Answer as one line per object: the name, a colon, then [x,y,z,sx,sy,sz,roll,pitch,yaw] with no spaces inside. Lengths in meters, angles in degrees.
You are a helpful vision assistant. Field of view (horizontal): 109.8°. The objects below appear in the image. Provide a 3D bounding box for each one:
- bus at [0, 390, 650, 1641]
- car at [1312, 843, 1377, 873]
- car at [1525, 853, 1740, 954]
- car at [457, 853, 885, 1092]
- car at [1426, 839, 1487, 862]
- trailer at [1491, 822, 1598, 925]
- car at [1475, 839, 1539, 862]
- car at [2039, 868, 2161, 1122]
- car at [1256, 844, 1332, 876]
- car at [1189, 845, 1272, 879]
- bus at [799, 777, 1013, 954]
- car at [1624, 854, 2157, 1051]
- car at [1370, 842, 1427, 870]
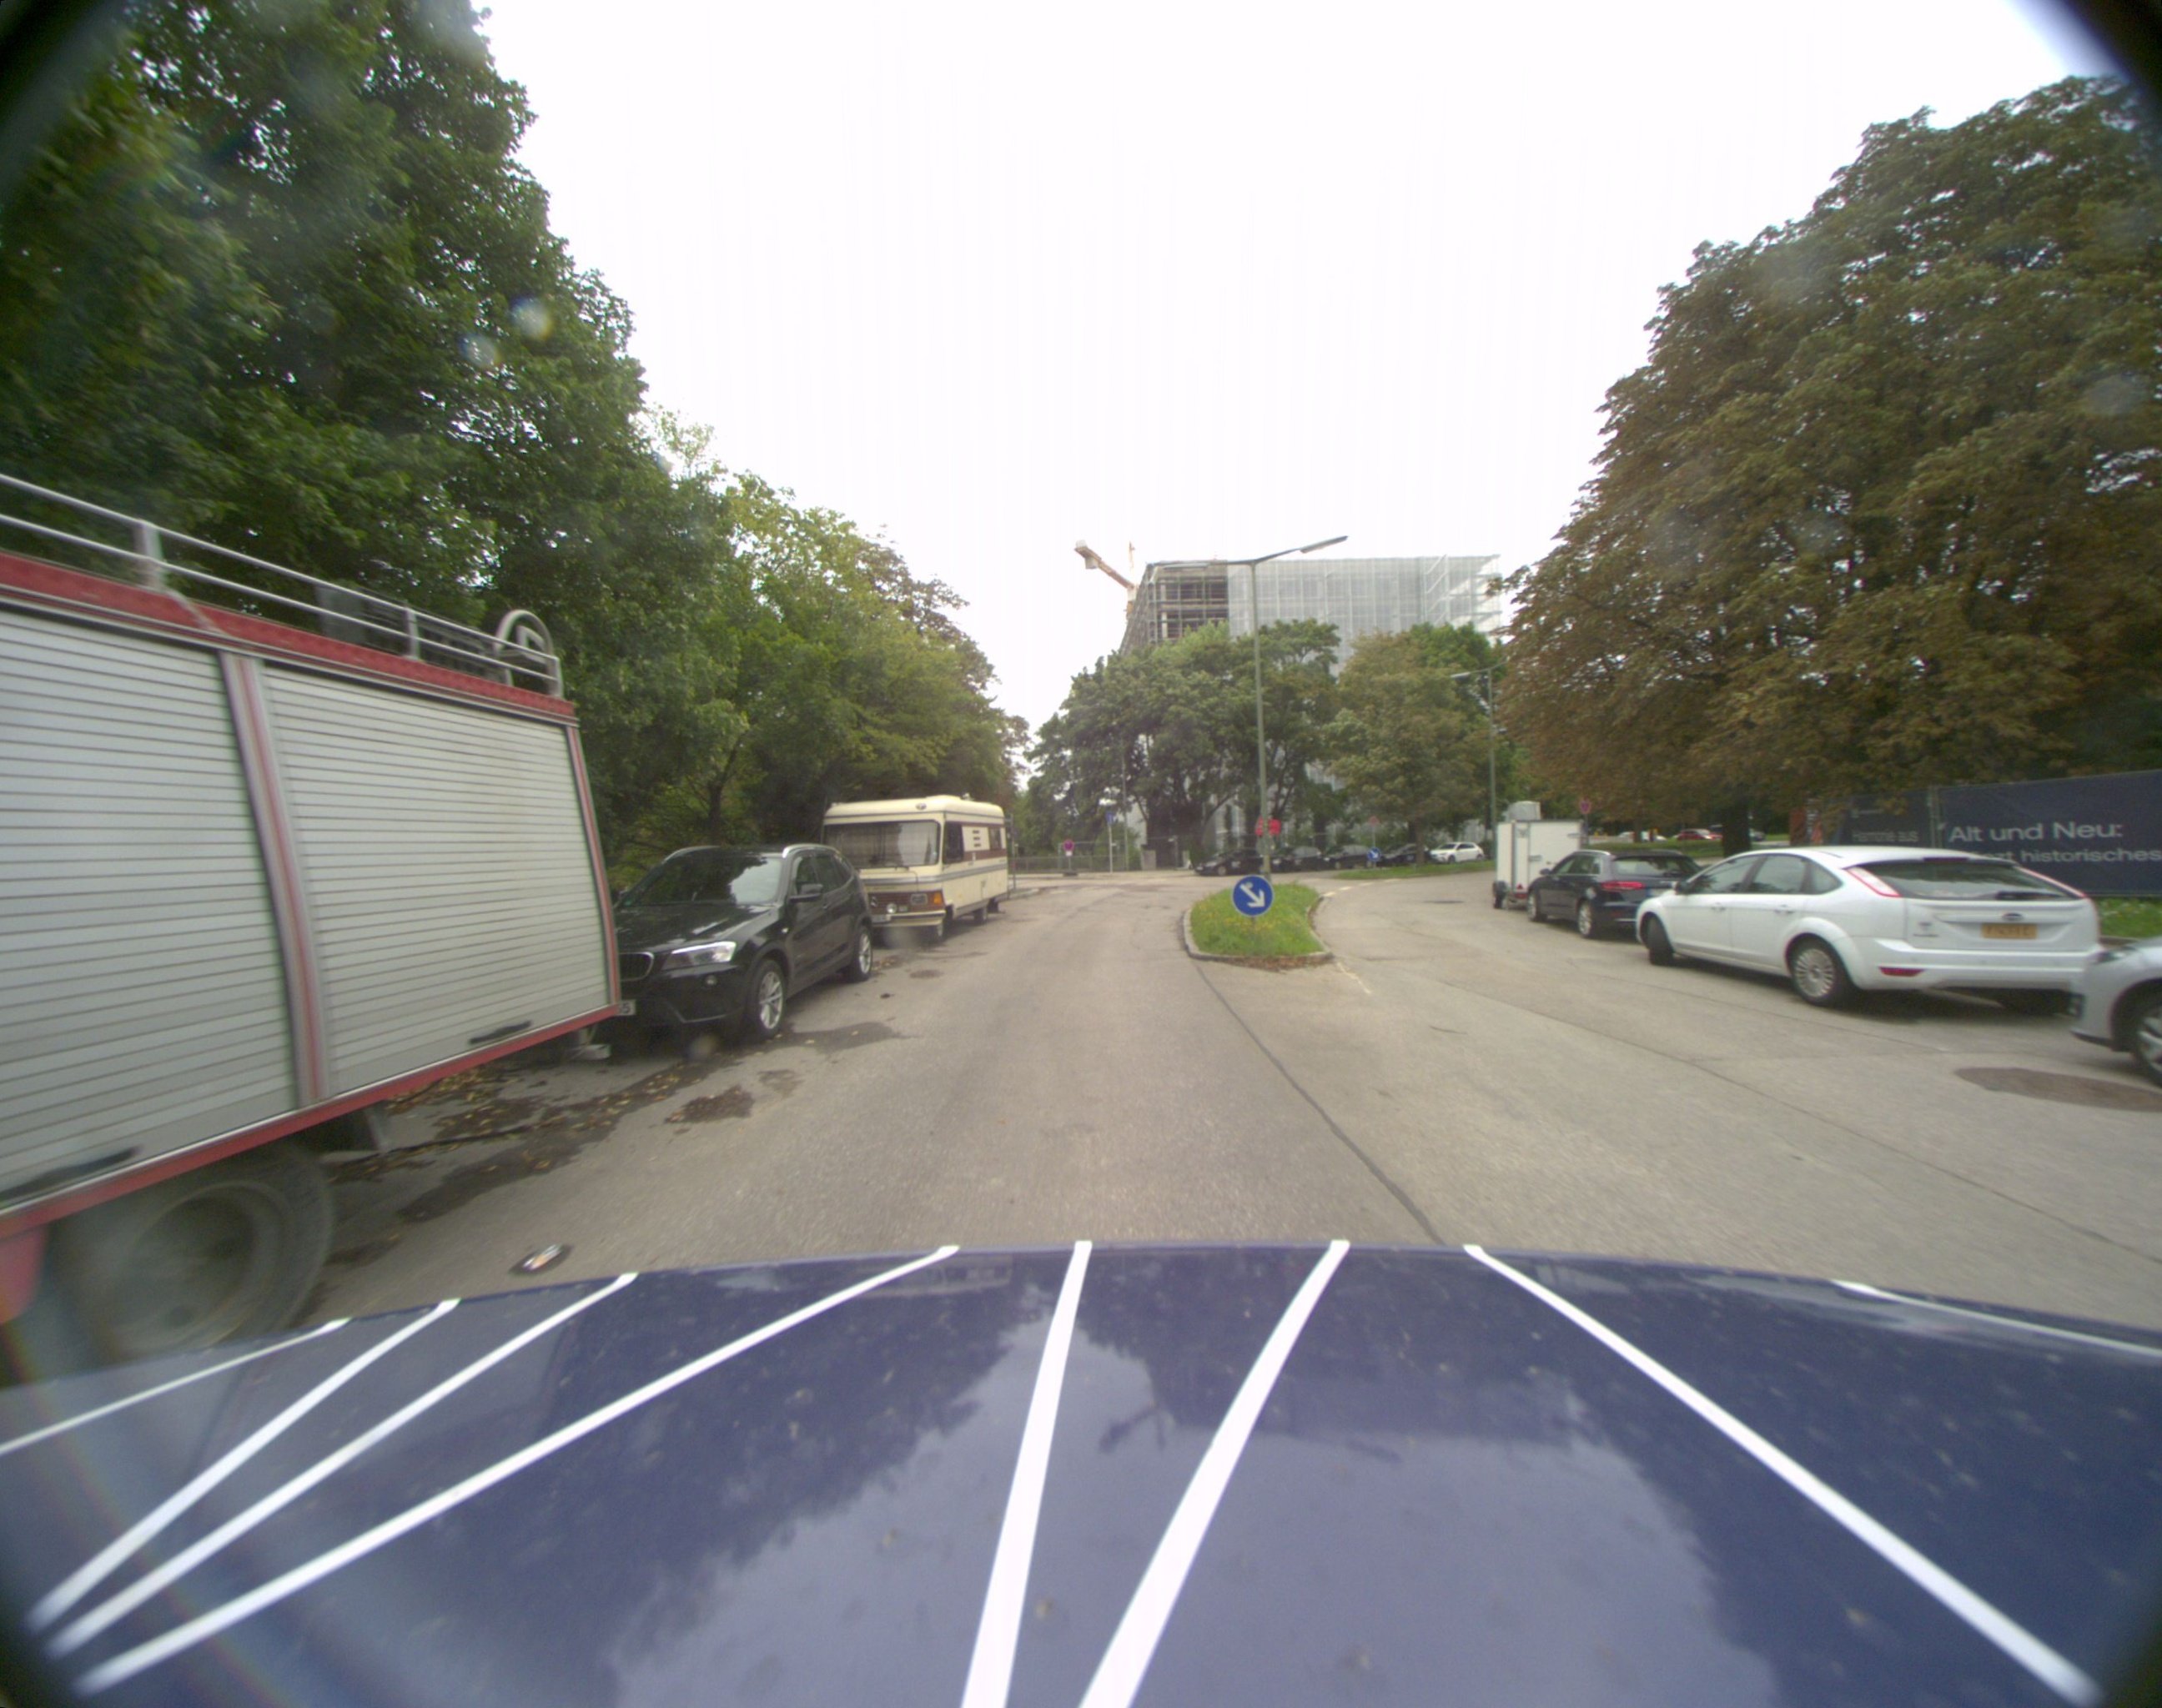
bus: [-3.497,0.380,0.881,2.077,2.789,6.272,-2,1,3]
car: [15.228,0.214,43.957,3.267,1.564,1.656,-2,2,-23]
car: [9.129,0.718,12.990,1.692,1.404,3.799,0,1,15]
car: [-3.464,0.835,7.567,1.783,1.630,4.397,-2,0,1]
car: [24.030,-0.248,48.628,3.724,1.379,1.517,-2,2,-24]
trailer: [10.631,0.384,17.628,1.779,2.169,2.781,0,2,24]
car: [27.994,-0.235,49.966,3.722,1.379,1.518,-2,2,-17]
car: [7.115,0.841,2.841,1.998,1.450,4.120,0,1,5]
car: [11.731,0.302,41.824,3.892,1.564,1.785,-2,2,-29]
car: [7.769,0.379,39.545,3.891,1.564,1.786,-2,2,-24]
bus: [-3.022,0.158,14.826,2.077,2.714,5.869,-2,1,7]
car: [7.691,0.757,7.928,1.740,1.450,4.034,0,1,11]
car: [19.286,0.101,46.179,2.916,1.564,1.517,-2,2,-20]
